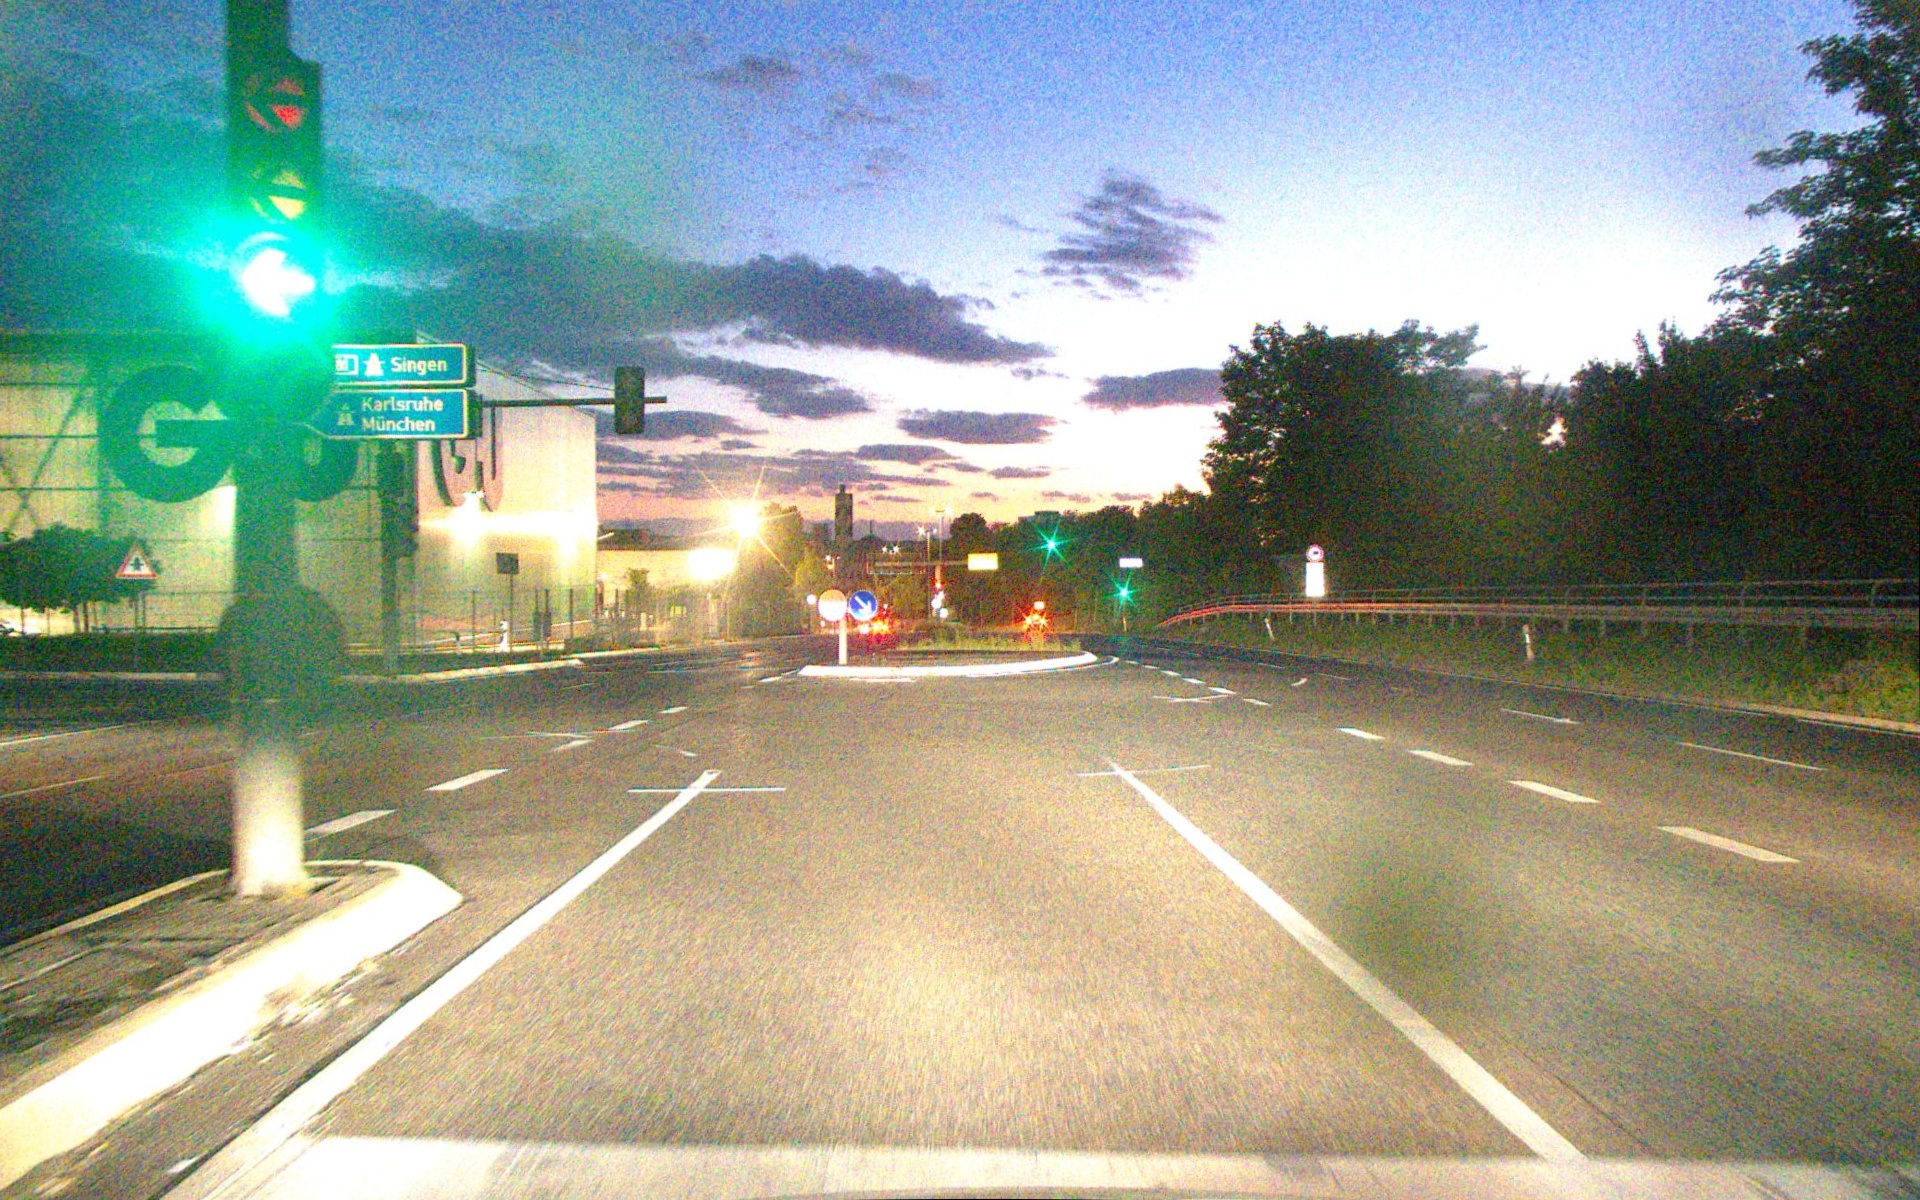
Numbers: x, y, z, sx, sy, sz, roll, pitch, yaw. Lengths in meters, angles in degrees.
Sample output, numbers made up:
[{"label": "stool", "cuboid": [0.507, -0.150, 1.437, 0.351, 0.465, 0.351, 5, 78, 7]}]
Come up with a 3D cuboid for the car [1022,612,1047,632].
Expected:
[{"label": "car", "cuboid": [6.575, 1.969, 146.509, 1.896, 1.675, 3.999, -1, 1, -2]}]
